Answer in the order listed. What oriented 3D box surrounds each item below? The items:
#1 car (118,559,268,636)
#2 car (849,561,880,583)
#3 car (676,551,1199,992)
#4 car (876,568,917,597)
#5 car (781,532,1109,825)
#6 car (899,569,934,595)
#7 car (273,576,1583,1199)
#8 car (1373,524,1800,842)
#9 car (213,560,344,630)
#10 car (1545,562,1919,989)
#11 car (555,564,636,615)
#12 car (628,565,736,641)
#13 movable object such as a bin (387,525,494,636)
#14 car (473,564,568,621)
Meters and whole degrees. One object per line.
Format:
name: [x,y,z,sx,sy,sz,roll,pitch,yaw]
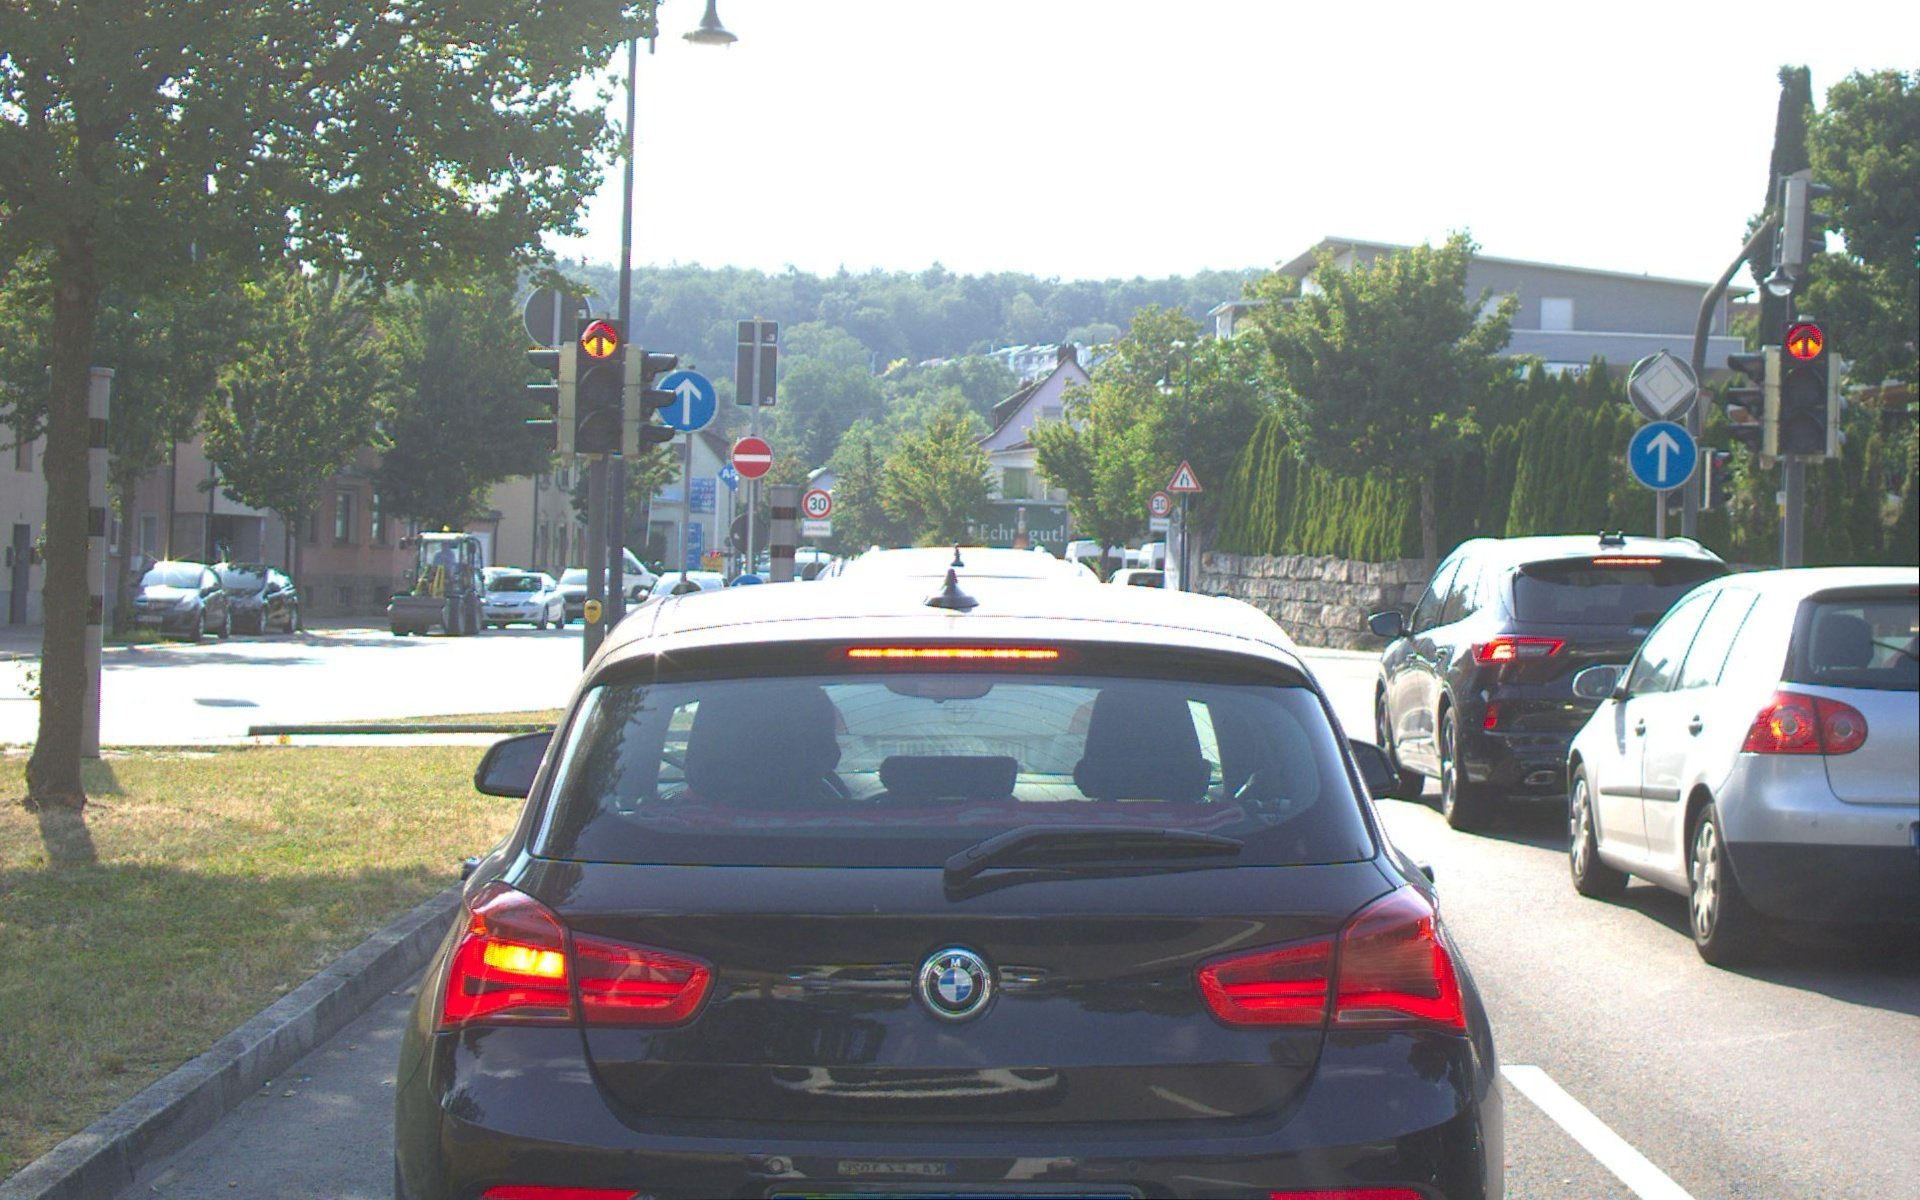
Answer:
car: [-14.939,-0.066,67.153,1.737,1.296,4.000,5,1,3]
car: [-6.490,-1.921,233.467,1.737,1.296,3.799,5,1,2]
car: [-0.074,0.561,14.005,1.788,1.488,4.281,-1,1,0]
car: [-3.190,-0.901,174.203,1.737,1.296,3.799,5,1,2]
car: [-0.081,0.396,21.044,1.788,1.588,4.281,-1,1,0]
car: [-2.496,-1.041,197.918,1.737,1.296,3.799,5,1,2]
car: [-0.037,0.682,6.859,1.788,1.393,4.281,-1,1,0]
car: [3.528,0.402,20.024,1.761,1.650,3.903,-1,1,0]
car: [-14.517,-0.123,73.428,1.737,1.296,4.000,5,1,2]
car: [3.555,0.580,13.743,1.761,1.421,3.903,-1,1,0]
car: [-10.777,-0.324,101.902,1.737,1.296,3.799,5,1,2]
car: [-5.717,0.043,71.116,1.839,1.477,4.000,1,1,1]
movable object such as a bin: [-11.797,-0.460,78.264,1.736,2.433,4.450,0,1,0]
car: [-11.366,-0.211,89.121,1.737,1.296,3.799,5,1,2]
